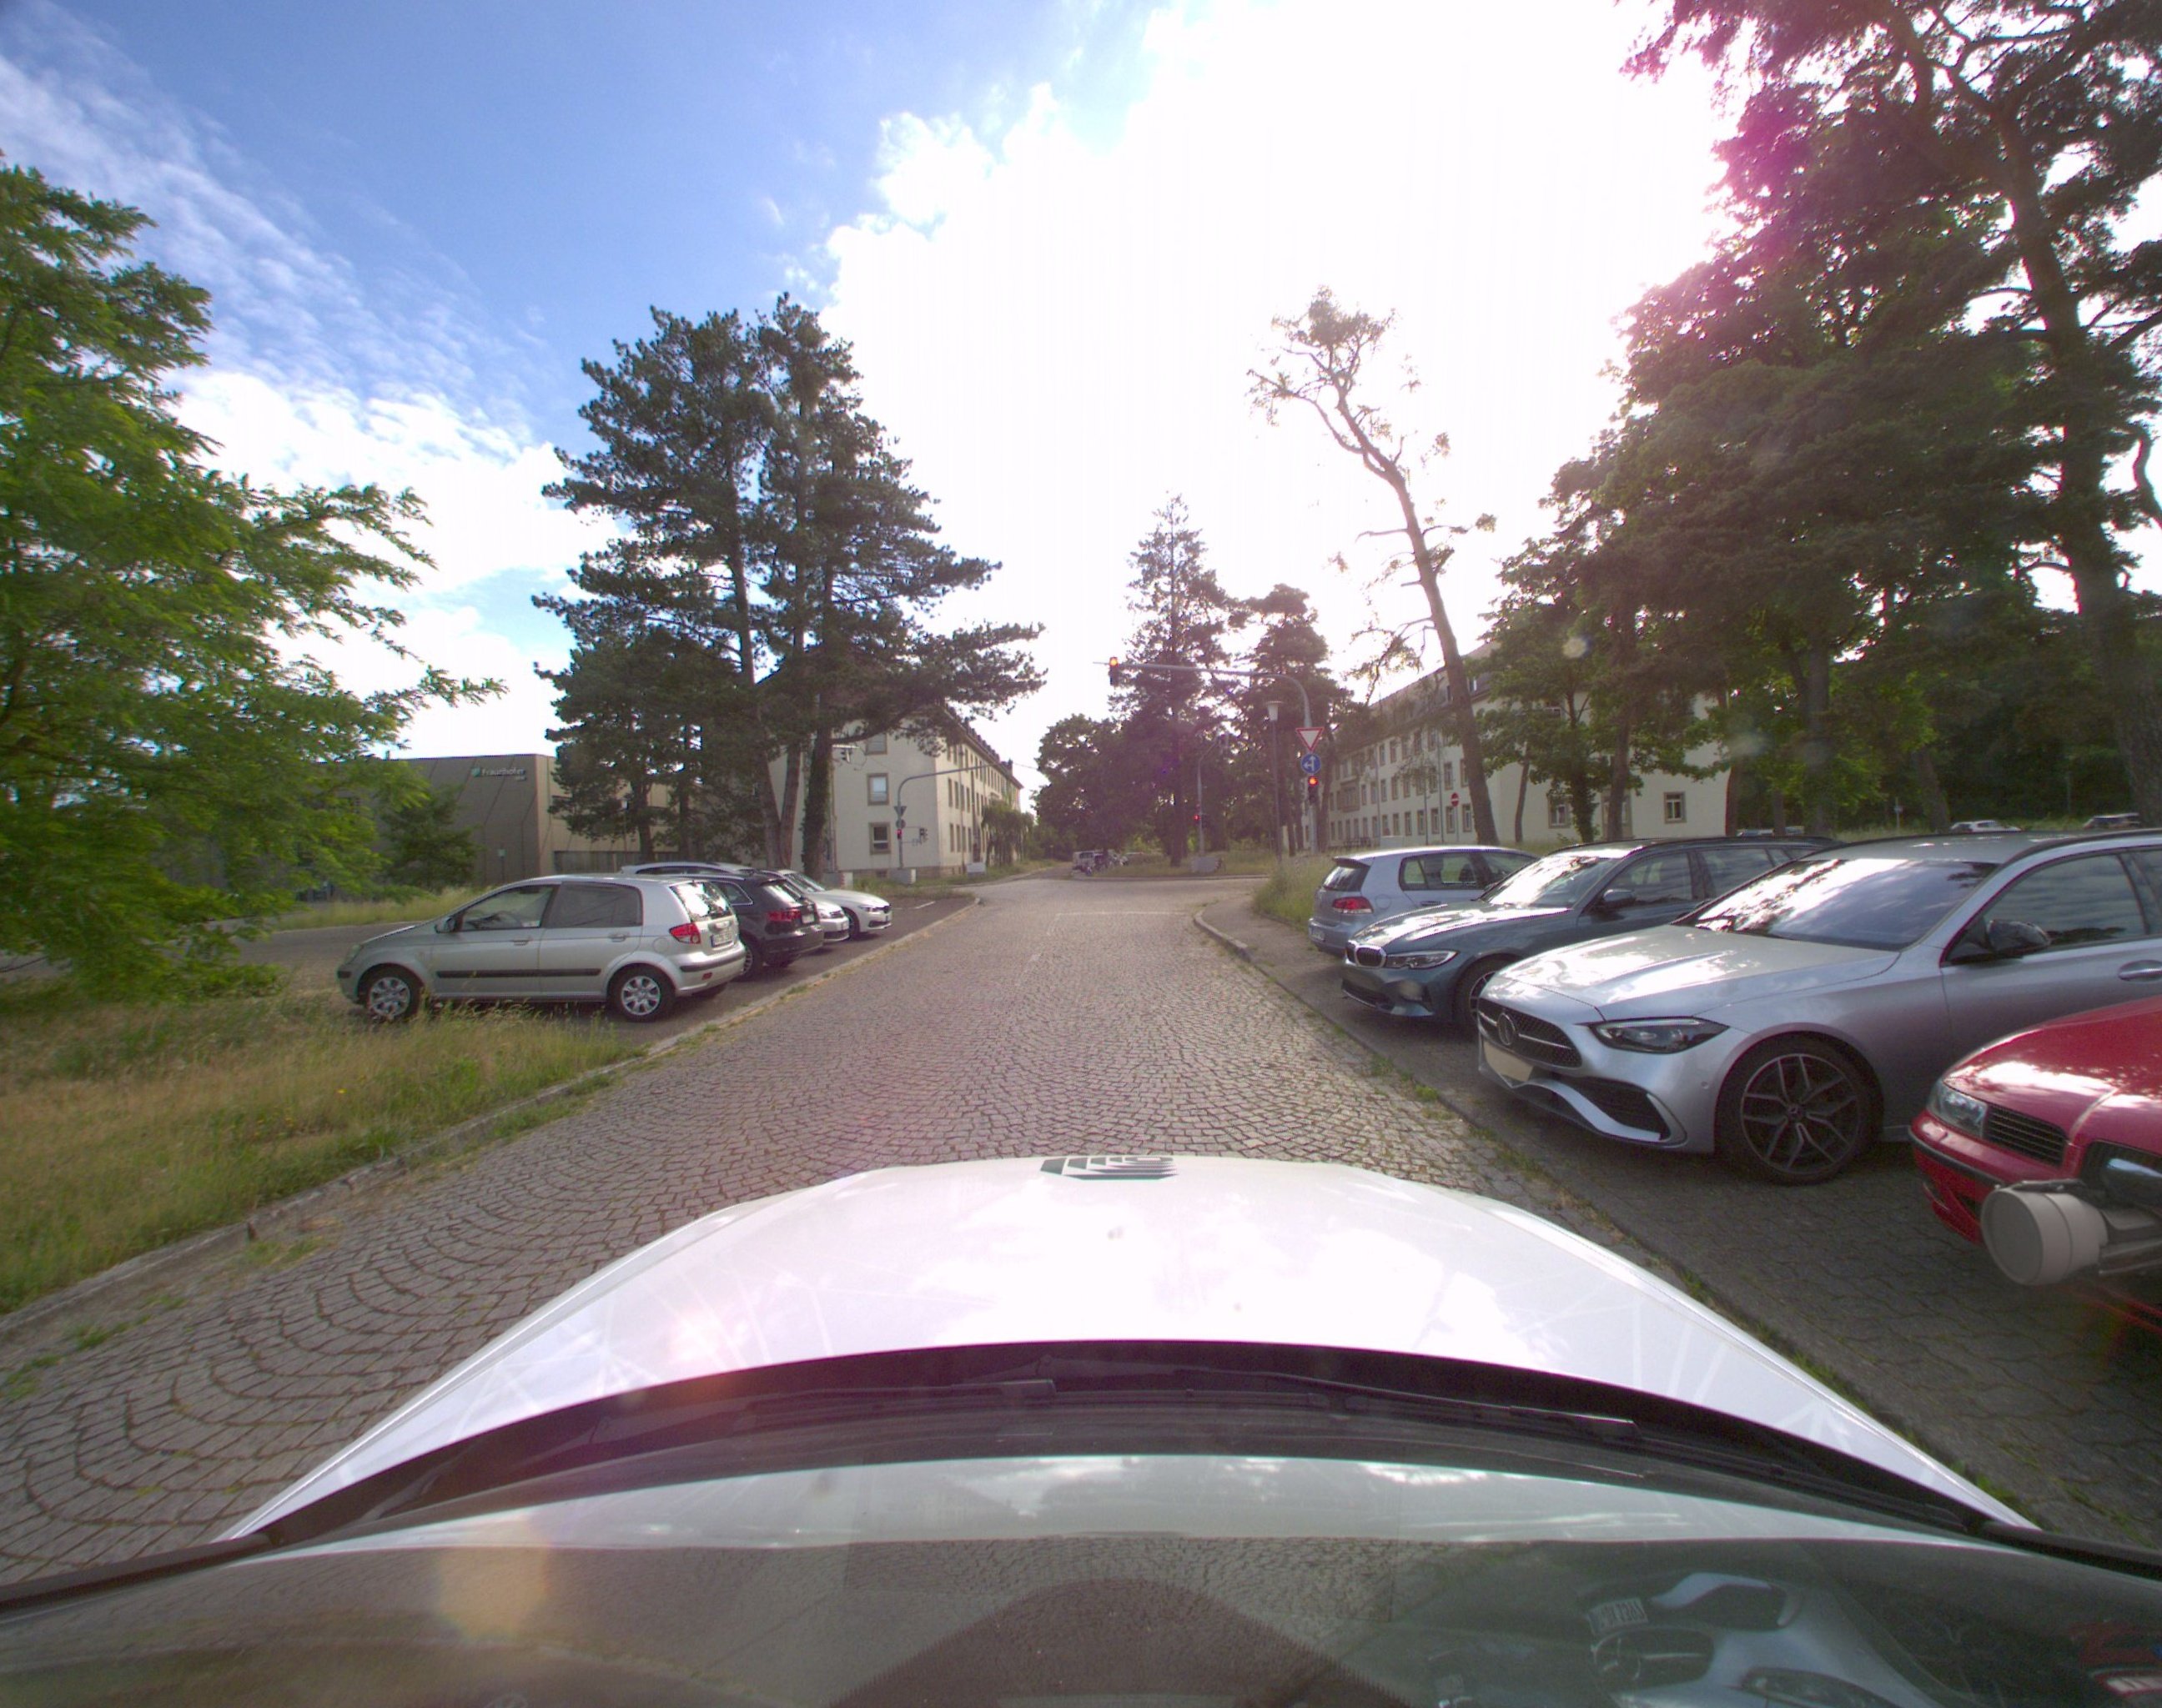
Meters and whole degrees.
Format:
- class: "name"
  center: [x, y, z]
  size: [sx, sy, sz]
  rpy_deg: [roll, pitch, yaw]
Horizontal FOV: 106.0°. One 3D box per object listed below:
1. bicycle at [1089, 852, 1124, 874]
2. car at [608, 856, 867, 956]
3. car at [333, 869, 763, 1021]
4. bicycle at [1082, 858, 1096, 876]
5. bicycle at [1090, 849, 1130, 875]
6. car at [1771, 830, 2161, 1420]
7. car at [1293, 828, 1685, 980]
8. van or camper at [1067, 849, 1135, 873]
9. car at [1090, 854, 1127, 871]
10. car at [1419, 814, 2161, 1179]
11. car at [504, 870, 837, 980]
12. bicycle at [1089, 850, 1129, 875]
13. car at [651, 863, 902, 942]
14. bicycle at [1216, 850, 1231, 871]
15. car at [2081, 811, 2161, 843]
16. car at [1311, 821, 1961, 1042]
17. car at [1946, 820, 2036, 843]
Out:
- class: "bicycle"
  center: [2.025, 0.696, 64.935]
  size: [2.765, 1.694, 1.121]
  rpy_deg: [0, -1, 2]
- class: "car"
  center: [-5.963, 0.878, 14.485]
  size: [3.821, 1.607, 1.734]
  rpy_deg: [1, 0, -2]
- class: "car"
  center: [-5.615, 0.921, 8.939]
  size: [3.567, 1.476, 1.646]
  rpy_deg: [0, 0, -2]
- class: "bicycle"
  center: [0.527, 0.873, 54.564]
  size: [0.723, 1.107, 2.463]
  rpy_deg: [-7, -1, 2]
- class: "bicycle"
  center: [2.081, 0.567, 58.837]
  size: [2.771, 1.694, 1.118]
  rpy_deg: [-2, 0, -5]
- class: "car"
  center: [4.684, 0.595, 2.217]
  size: [4.092, 1.423, 1.720]
  rpy_deg: [-2, 0, 1]
- class: "car"
  center: [4.697, 0.545, 9.760]
  size: [3.830, 1.471, 1.641]
  rpy_deg: [-3, 0, 0]
- class: "van or camper"
  center: [1.850, 0.644, 76.811]
  size: [6.039, 1.948, 1.991]
  rpy_deg: [-2, 0, -13]
- class: "car"
  center: [2.421, 0.730, 73.229]
  size: [3.133, 1.354, 1.617]
  rpy_deg: [-2, 0, -5]
- class: "car"
  center: [4.400, 0.589, 4.477]
  size: [4.312, 1.428, 1.766]
  rpy_deg: [-3, 0, -1]
- class: "car"
  center: [-5.646, 0.952, 11.556]
  size: [3.823, 1.408, 1.695]
  rpy_deg: [0, 0, 0]
- class: "bicycle"
  center: [2.077, 0.597, 60.031]
  size: [2.773, 1.694, 1.117]
  rpy_deg: [-2, 0, -7]
- class: "car"
  center: [-6.158, 0.965, 16.886]
  size: [4.467, 1.442, 1.828]
  rpy_deg: [1, 0, -3]
- class: "bicycle"
  center: [8.210, 0.389, 47.004]
  size: [0.720, 1.169, 2.742]
  rpy_deg: [-1, 0, 7]
- class: "car"
  center: [56.733, -1.474, 43.578]
  size: [2.009, 1.600, 3.955]
  rpy_deg: [-2, 0, -36]
- class: "car"
  center: [4.551, 0.584, 7.151]
  size: [4.501, 1.483, 1.806]
  rpy_deg: [-2, 0, -2]
- class: "car"
  center: [58.000, -1.424, 51.939]
  size: [3.973, 1.398, 1.563]
  rpy_deg: [0, 0, 0]
